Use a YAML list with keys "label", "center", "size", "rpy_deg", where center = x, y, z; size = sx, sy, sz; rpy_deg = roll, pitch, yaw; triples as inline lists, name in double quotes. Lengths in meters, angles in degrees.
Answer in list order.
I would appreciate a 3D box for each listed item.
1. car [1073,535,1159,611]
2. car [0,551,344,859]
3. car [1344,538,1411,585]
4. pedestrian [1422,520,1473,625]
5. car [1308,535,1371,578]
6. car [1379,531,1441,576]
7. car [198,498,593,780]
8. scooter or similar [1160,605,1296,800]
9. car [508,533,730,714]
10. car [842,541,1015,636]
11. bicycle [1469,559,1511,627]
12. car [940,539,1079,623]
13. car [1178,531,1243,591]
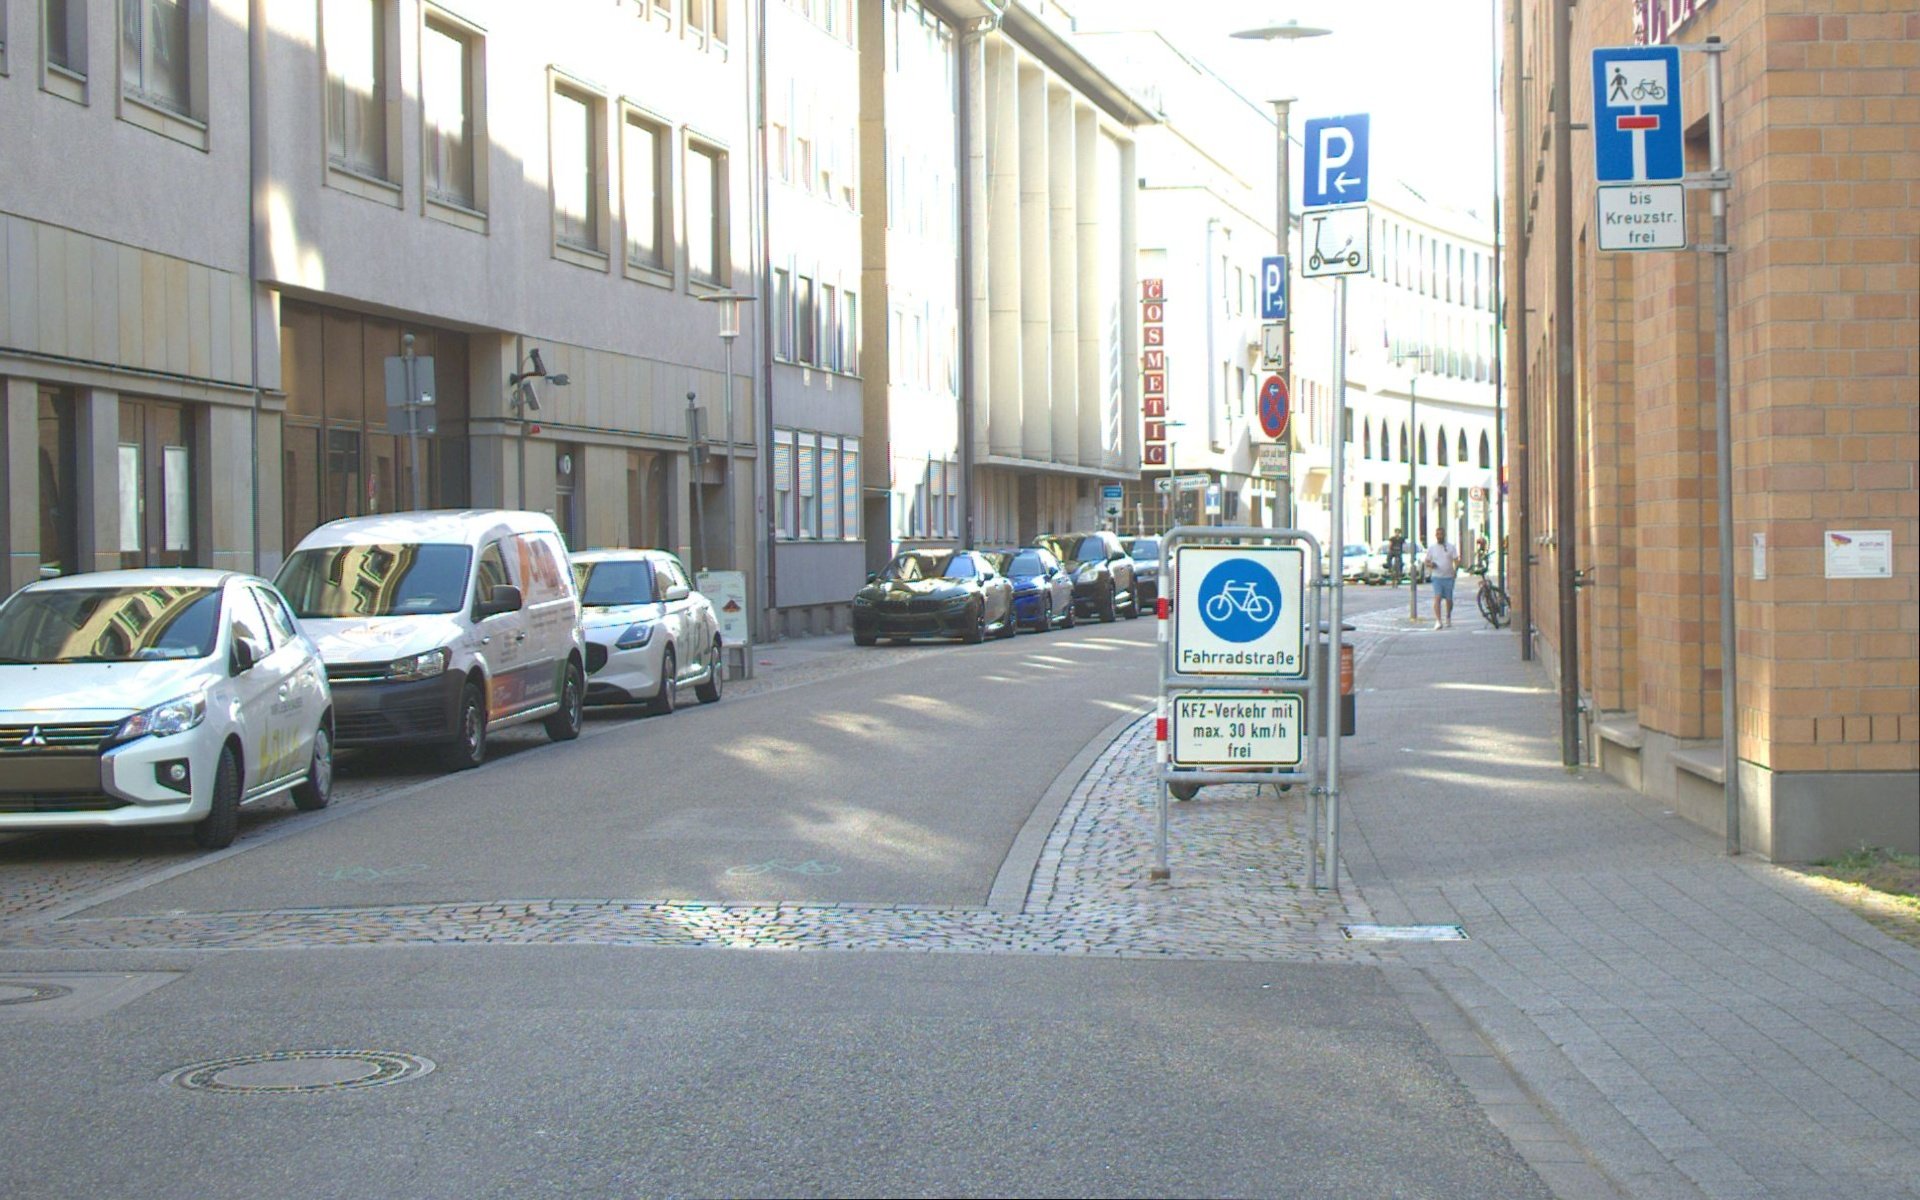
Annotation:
- label: "car"
  center: [3.246, -0.578, 71.083]
  size: [1.339, 1.489, 3.509]
  rpy_deg: [-1, 1, 10]
- label: "car"
  center: [-4.670, 0.517, 19.270]
  size: [1.670, 1.501, 3.794]
  rpy_deg: [-2, 1, 1]
- label: "car"
  center: [12.606, -1.172, 103.684]
  size: [1.690, 1.365, 3.616]
  rpy_deg: [-1, 1, 12]
- label: "pedestrian"
  center: [8.121, -0.463, 57.281]
  size: [0.664, 1.724, 0.840]
  rpy_deg: [2, 0, -1]
- label: "car"
  center: [12.555, -1.453, 113.600]
  size: [1.690, 1.365, 3.616]
  rpy_deg: [-1, 1, 12]
- label: "car"
  center: [14.463, -1.508, 110.397]
  size: [1.690, 1.365, 3.616]
  rpy_deg: [-1, 1, 12]
- label: "car"
  center: [-4.000, 0.212, 25.127]
  size: [1.670, 1.812, 4.551]
  rpy_deg: [-2, 1, 6]
- label: "scooter or similar"
  center: [1.598, 0.609, 20.530]
  size: [0.771, 1.132, 0.269]
  rpy_deg: [2, 0, 3]
- label: "car"
  center: [-3.051, 0.170, 31.308]
  size: [1.271, 1.501, 3.401]
  rpy_deg: [-2, 1, 7]
- label: "car"
  center: [-0.433, -0.201, 51.794]
  size: [1.882, 1.327, 4.099]
  rpy_deg: [-1, 1, 10]
- label: "bicycle"
  center: [8.080, -0.122, 52.469]
  size: [0.511, 0.990, 2.647]
  rpy_deg: [0, 1, 6]
- label: "car"
  center: [0.876, -0.343, 58.084]
  size: [1.725, 1.336, 3.999]
  rpy_deg: [-1, 1, 10]
- label: "car"
  center: [6.479, -1.018, 88.723]
  size: [1.339, 1.489, 3.345]
  rpy_deg: [-1, 1, 10]
